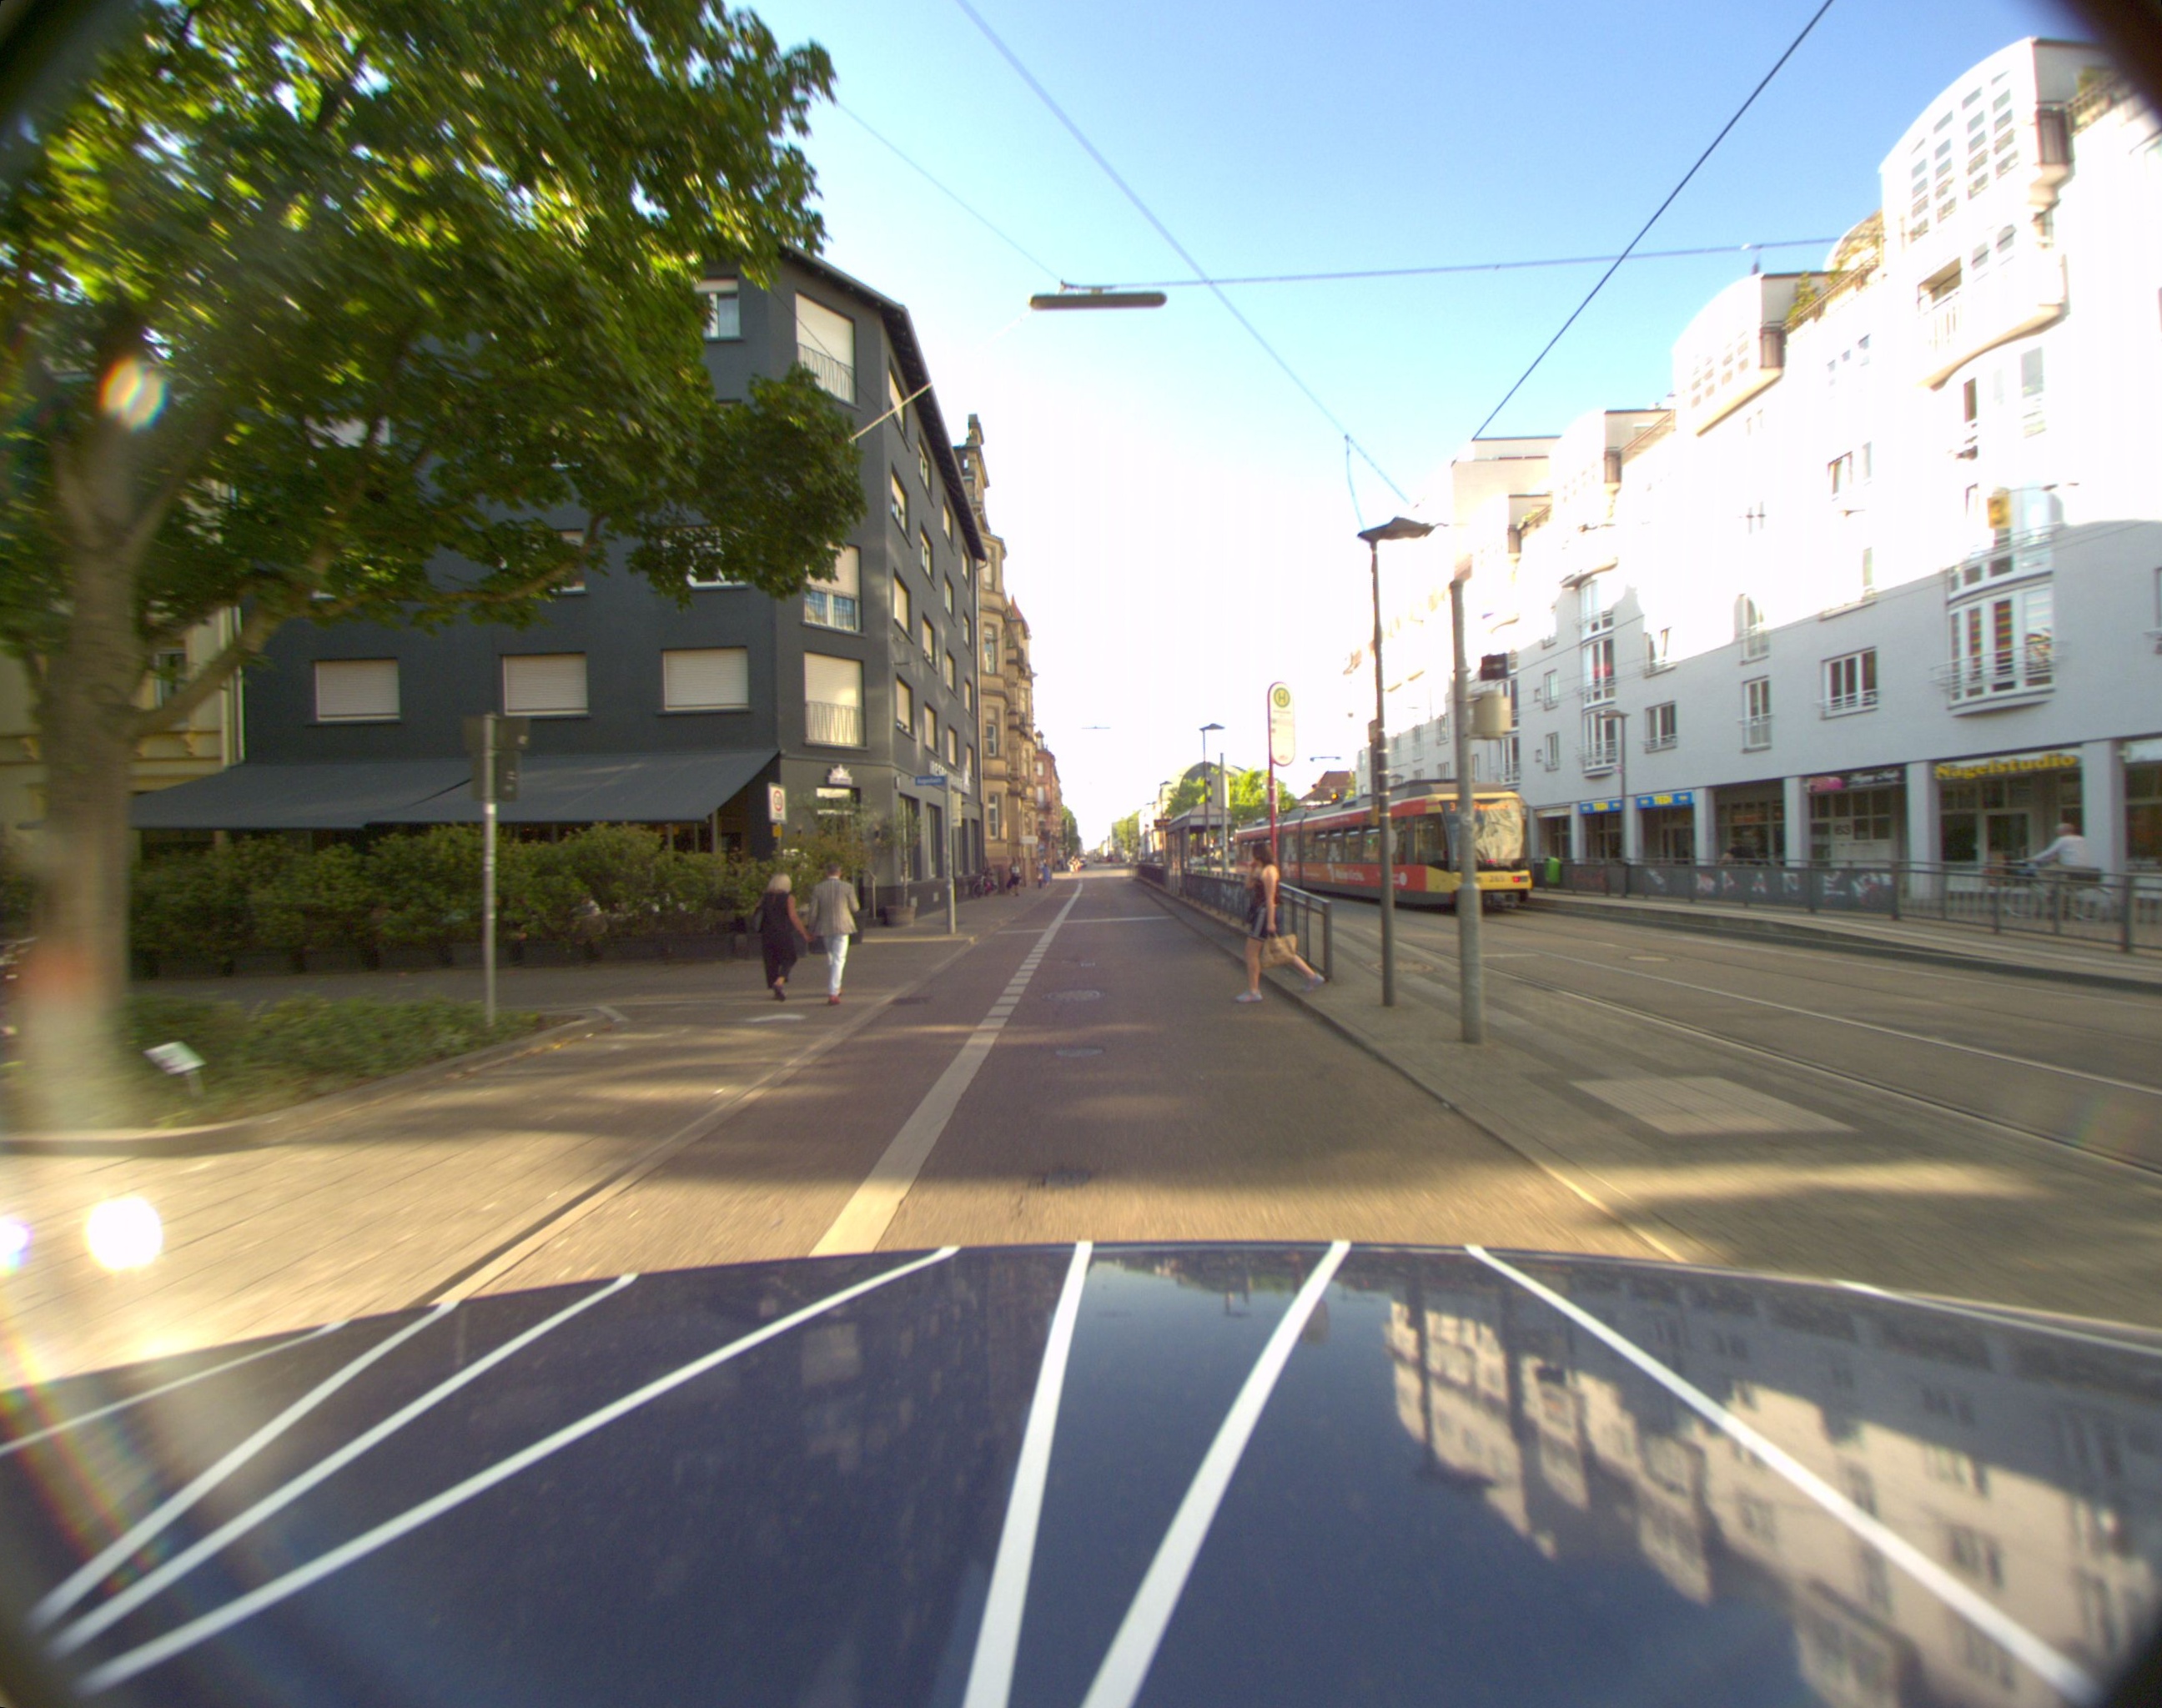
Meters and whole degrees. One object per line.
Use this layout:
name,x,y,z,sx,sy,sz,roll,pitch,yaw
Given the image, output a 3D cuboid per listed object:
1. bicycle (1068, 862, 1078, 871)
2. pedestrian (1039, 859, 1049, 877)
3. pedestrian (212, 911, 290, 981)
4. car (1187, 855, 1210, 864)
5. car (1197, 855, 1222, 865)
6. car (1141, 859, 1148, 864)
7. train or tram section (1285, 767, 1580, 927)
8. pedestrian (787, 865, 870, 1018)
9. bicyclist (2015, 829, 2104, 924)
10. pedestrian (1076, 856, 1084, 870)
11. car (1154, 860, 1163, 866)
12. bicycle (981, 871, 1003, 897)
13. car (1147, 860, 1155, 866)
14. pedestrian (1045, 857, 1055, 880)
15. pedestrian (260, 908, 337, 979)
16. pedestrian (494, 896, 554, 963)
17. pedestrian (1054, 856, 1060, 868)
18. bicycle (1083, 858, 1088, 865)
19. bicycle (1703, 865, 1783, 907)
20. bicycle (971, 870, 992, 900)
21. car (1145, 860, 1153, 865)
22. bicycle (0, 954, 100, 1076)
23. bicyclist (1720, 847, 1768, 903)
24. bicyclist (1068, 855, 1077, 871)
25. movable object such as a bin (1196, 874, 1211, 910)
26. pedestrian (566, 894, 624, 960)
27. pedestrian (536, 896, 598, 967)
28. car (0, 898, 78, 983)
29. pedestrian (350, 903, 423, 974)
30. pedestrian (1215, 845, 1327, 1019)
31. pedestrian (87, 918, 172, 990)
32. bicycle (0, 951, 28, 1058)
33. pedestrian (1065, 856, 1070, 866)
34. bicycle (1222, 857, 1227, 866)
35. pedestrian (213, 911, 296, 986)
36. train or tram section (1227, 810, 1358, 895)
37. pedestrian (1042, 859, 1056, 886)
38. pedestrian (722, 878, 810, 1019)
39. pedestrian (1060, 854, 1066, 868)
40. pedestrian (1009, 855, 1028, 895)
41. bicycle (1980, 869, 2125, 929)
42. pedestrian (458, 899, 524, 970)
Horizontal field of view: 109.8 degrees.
bicycle,-0.843,1.303,78.531,0.885,0.949,1.766,-1,0,4
pedestrian,-2.860,1.084,58.927,0.796,1.324,0.719,0,1,-1
pedestrian,-15.782,1.732,14.458,0.748,1.254,0.650,-1,0,1
car,22.222,1.060,143.950,4.006,1.466,1.794,-3,0,-31
car,22.533,1.110,133.352,4.006,1.545,1.794,-3,0,-31
car,21.156,2.448,253.655,1.965,1.593,3.999,-3,0,-1
train or tram section,9.926,-0.212,24.569,2.892,3.470,14.950,-3,0,2
pedestrian,-3.028,1.022,9.178,0.715,1.764,0.773,1,-1,-2
bicyclist,19.502,0.446,15.166,0.657,1.825,0.845,-1,0,2
pedestrian,-0.083,1.019,88.156,0.849,1.651,0.850,-2,0,4
car,20.414,2.408,201.011,1.910,1.593,3.999,-3,0,-1
bicycle,-3.870,1.310,33.134,0.592,1.064,1.805,1,0,3
car,20.963,2.622,228.250,1.965,1.593,3.999,-3,0,-1
pedestrian,-2.367,1.102,58.163,0.796,1.711,0.719,0,1,-1
pedestrian,-14.731,1.672,14.314,0.748,1.254,0.650,-1,0,1
pedestrian,-10.676,1.436,14.579,0.649,1.196,0.650,-1,0,1
pedestrian,-3.404,1.128,106.011,0.777,1.713,0.754,0,0,1
bicycle,0.802,1.366,136.852,0.646,1.176,1.804,-1,0,-2
bicycle,18.789,0.884,21.617,0.731,1.101,1.800,-1,0,2
bicycle,-4.080,1.253,31.246,0.625,1.191,1.908,1,0,-1
car,20.860,2.662,234.540,1.965,1.593,3.999,-3,0,-1
bicycle,-9.923,1.484,7.156,1.322,1.008,0.459,-2,-1,20
bicyclist,18.783,0.586,21.540,0.731,1.559,0.719,-1,0,1
bicyclist,-0.861,0.926,78.437,0.885,1.650,0.803,-1,0,4
movable object such as a bin,3.308,1.021,20.516,0.353,0.939,0.530,-1,0,7
pedestrian,-9.244,1.374,14.461,0.649,1.196,0.650,-1,0,1
pedestrian,-9.247,1.379,13.694,0.649,1.196,0.650,-1,0,1
car,-21.494,1.665,13.760,3.997,1.456,1.879,-2,1,-1
pedestrian,-13.013,1.573,14.256,0.748,1.254,0.650,-1,0,1
pedestrian,1.990,0.799,8.088,0.871,1.704,0.787,-4,-1,-2
pedestrian,-17.784,1.850,14.211,0.748,1.254,0.650,-1,0,1
bicycle,-11.441,1.567,7.965,1.321,1.008,0.459,-2,-1,35
pedestrian,-2.344,1.141,131.723,0.700,1.713,0.681,0,0,2
bicycle,20.542,1.029,108.857,0.582,1.227,1.857,-3,0,6
pedestrian,-14.813,1.682,13.630,0.748,1.254,0.650,-1,0,1
train or tram section,10.248,-0.110,39.066,2.892,3.470,14.167,-3,0,1
pedestrian,-1.942,1.112,45.976,0.764,1.635,0.832,0,0,0
pedestrian,-3.759,1.098,9.125,0.715,1.593,0.773,1,-1,-2
pedestrian,-2.509,0.930,105.746,0.824,1.883,0.754,0,0,1
pedestrian,-2.868,0.974,35.019,0.803,1.813,0.797,0,0,0
bicycle,19.514,0.880,15.329,0.657,1.101,1.800,-1,0,2
pedestrian,-10.642,1.439,13.727,0.649,1.196,0.650,-1,0,1
